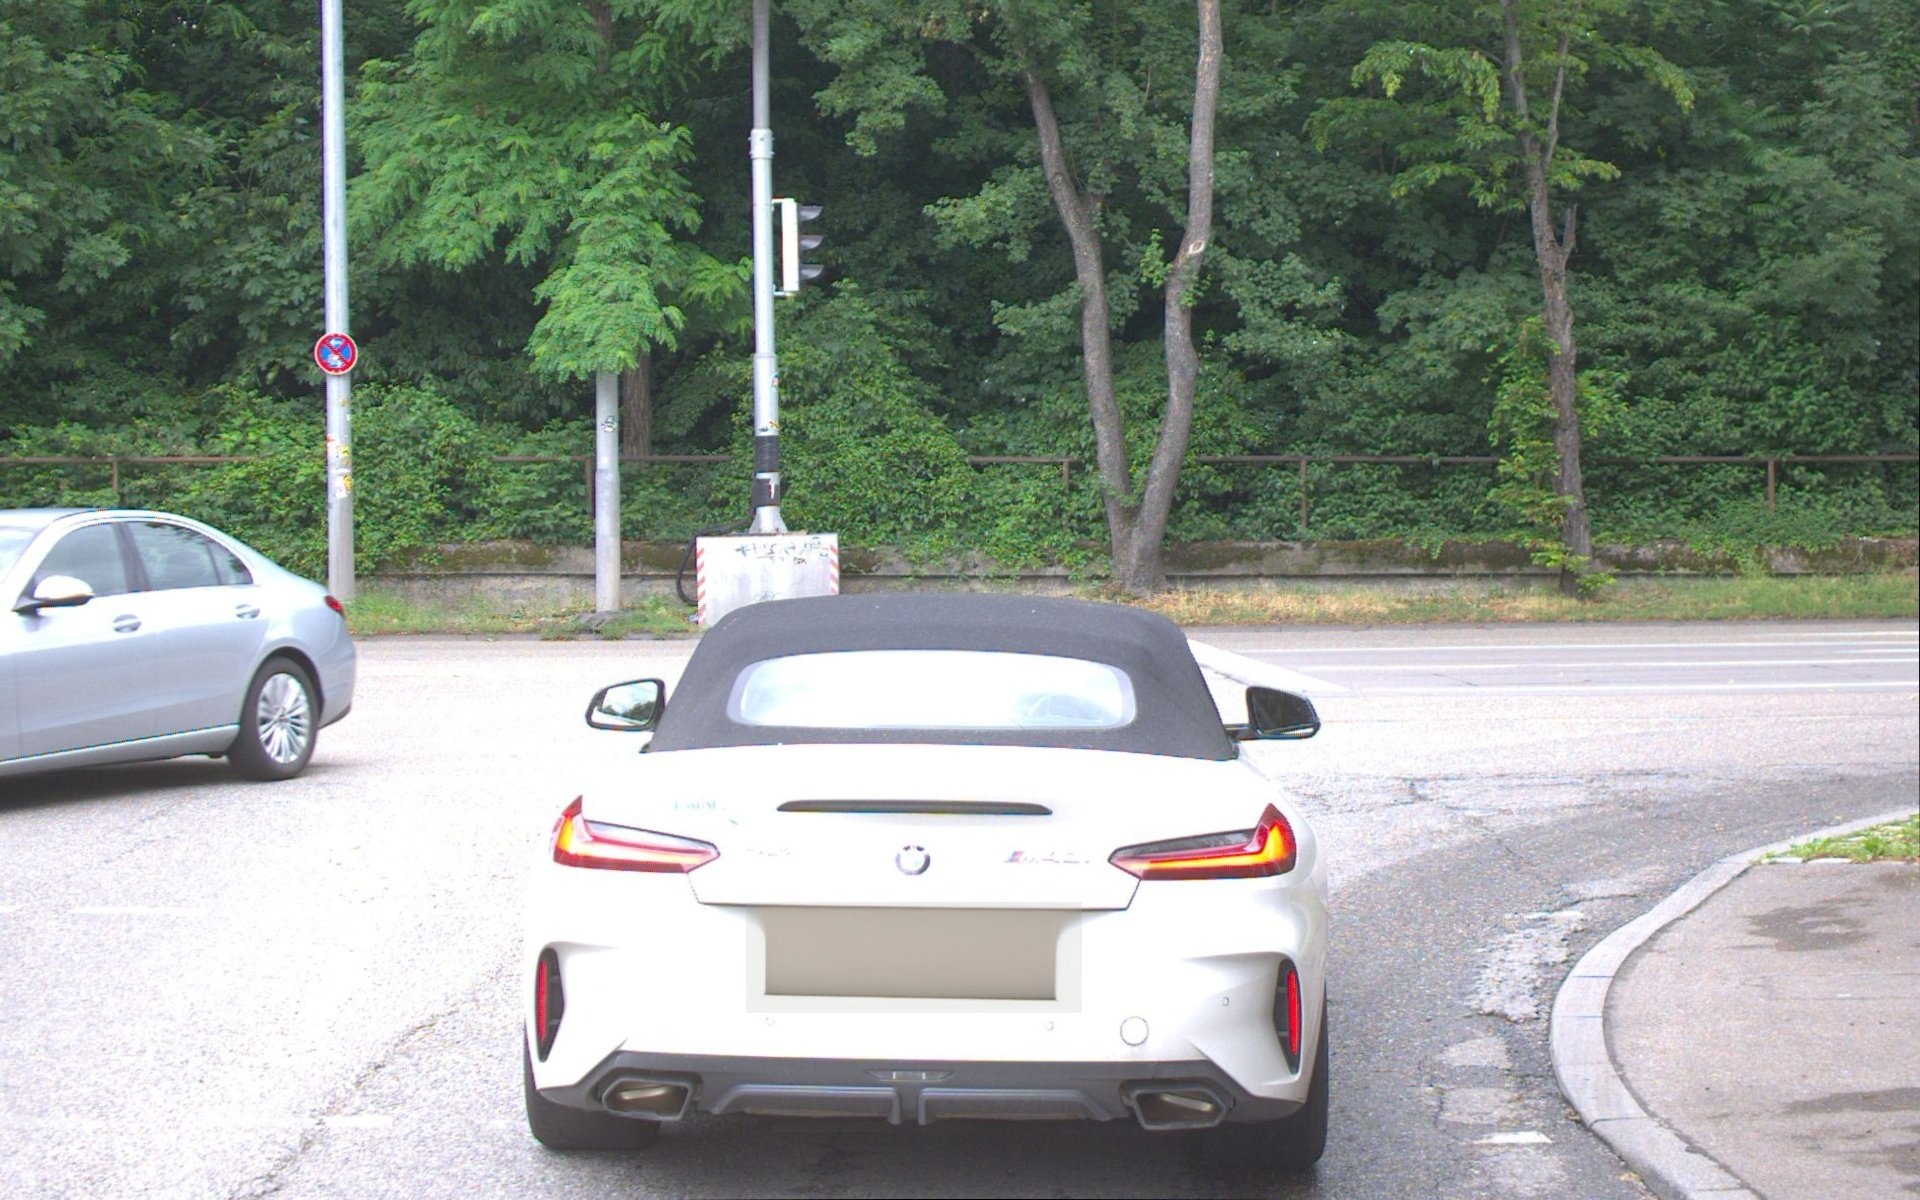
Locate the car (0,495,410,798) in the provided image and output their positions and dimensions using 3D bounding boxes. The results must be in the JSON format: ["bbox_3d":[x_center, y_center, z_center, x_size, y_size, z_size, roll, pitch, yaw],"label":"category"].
[{"bbox_3d":[-4.848,0.189,17.111,1.830,1.329,4.761,1,3,25],"label":"car"}]

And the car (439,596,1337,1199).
[{"bbox_3d":[-0.135,0.672,9.083,1.827,1.253,4.000,1,-1,0],"label":"car"}]
